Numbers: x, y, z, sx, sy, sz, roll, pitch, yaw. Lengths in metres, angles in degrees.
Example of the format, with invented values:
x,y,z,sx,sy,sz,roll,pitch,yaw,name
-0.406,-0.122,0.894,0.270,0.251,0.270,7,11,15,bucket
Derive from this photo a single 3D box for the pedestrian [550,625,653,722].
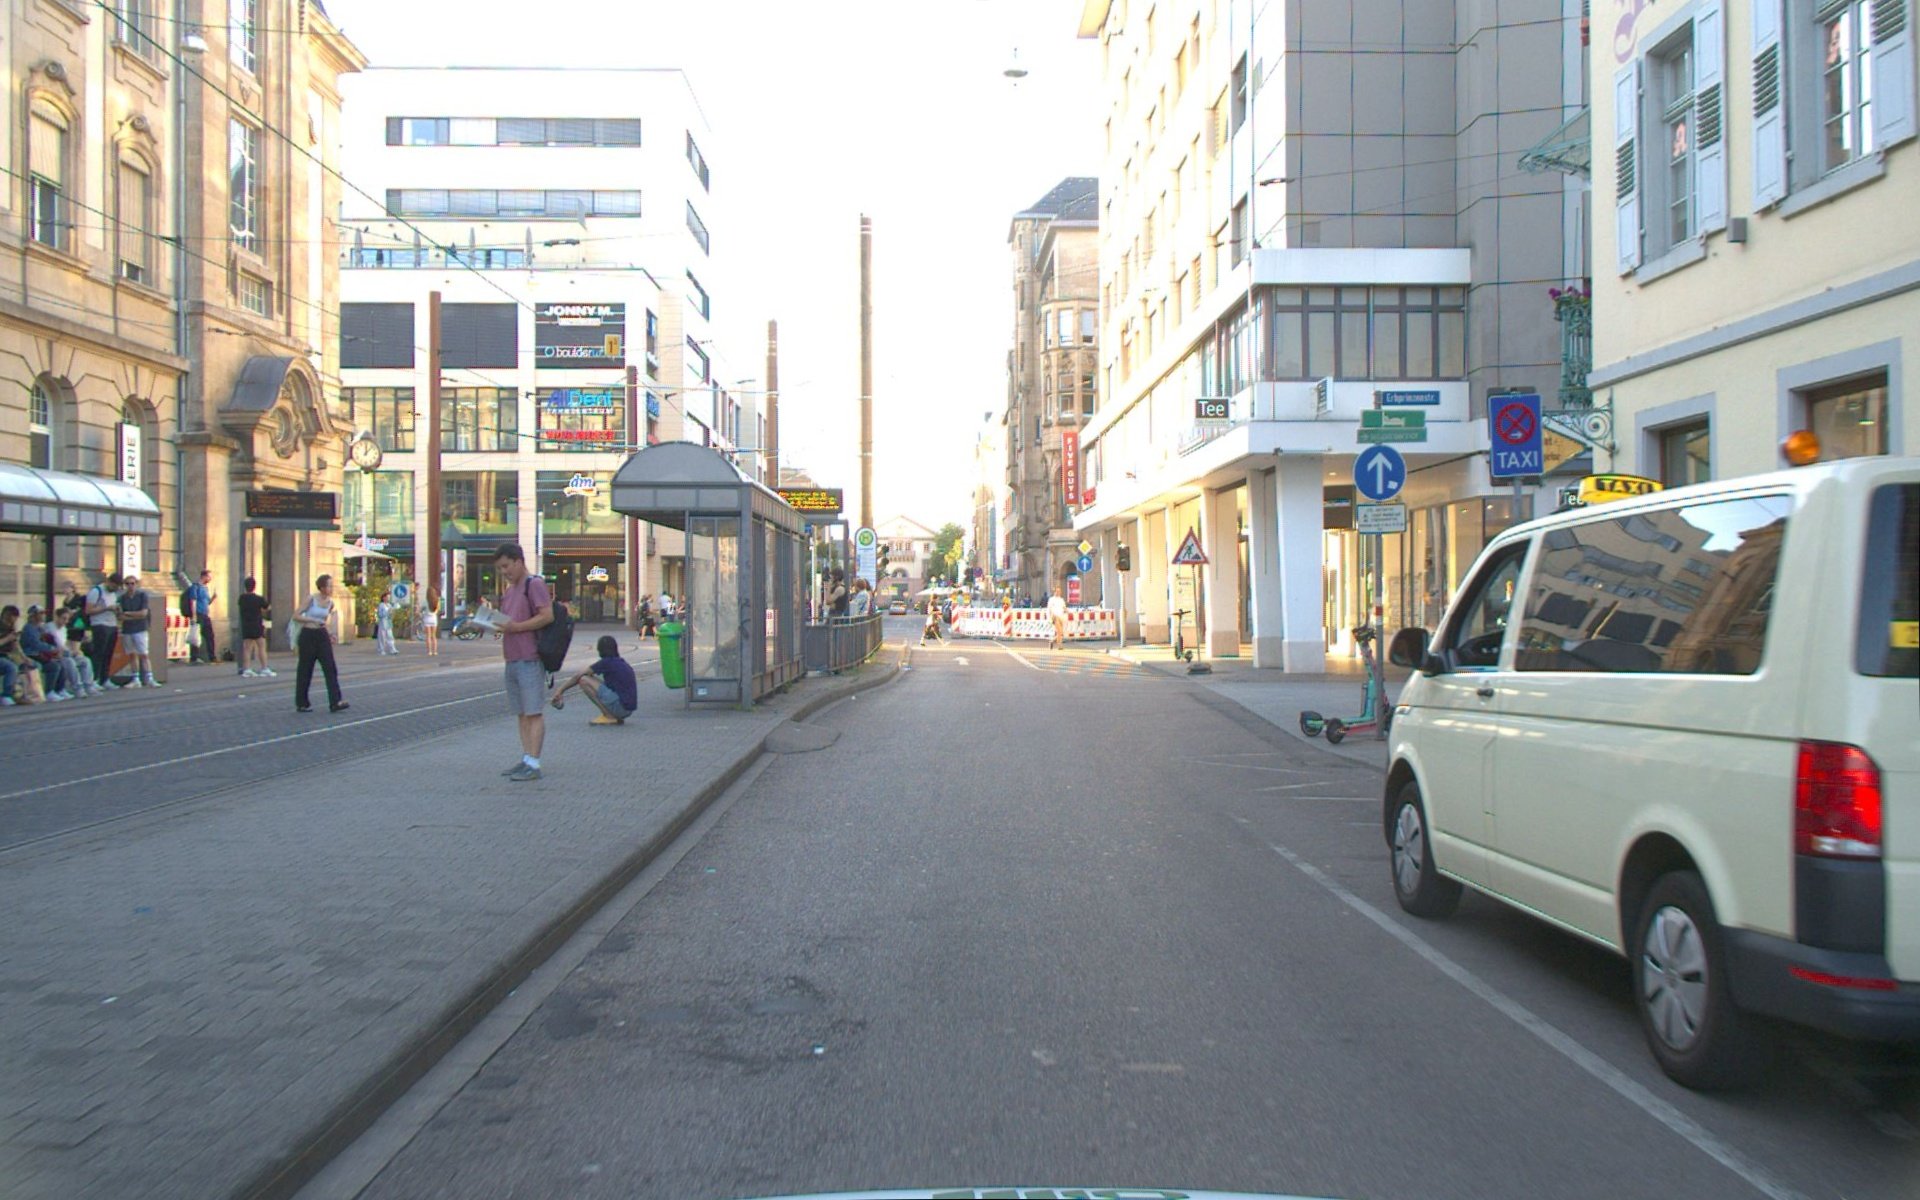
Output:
x,y,z,sx,sy,sz,roll,pitch,yaw,name
-3.685,0.745,17.017,0.781,0.955,0.693,0,0,21,pedestrian

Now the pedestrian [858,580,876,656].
x,y,z,sx,sy,sz,roll,pitch,yaw,name
-2.063,0.408,36.681,0.349,1.670,0.502,1,-1,-4,pedestrian

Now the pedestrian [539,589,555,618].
x,y,z,sx,sy,sz,roll,pitch,yaw,name
-22.986,0.197,92.130,0.560,1.553,0.791,1,-1,10,pedestrian

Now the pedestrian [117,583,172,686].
x,y,z,sx,sy,sz,roll,pitch,yaw,name
-12.730,0.537,25.835,0.507,1.597,0.638,0,-1,2,pedestrian

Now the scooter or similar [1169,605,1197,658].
x,y,z,sx,sy,sz,roll,pitch,yaw,name
5.409,0.751,40.147,0.495,1.256,1.179,0,0,-2,scooter or similar

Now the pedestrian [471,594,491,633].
x,y,z,sx,sy,sz,roll,pitch,yaw,name
-17.830,0.517,61.591,0.626,1.445,0.418,0,0,0,pedestrian

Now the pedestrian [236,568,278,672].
x,y,z,sx,sy,sz,roll,pitch,yaw,name
-12.305,0.347,28.945,0.548,1.807,0.468,0,0,-6,pedestrian

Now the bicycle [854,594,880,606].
x,y,z,sx,sy,sz,roll,pitch,yaw,name
-7.847,0.015,139.433,2.104,1.047,0.640,0,0,0,bicycle

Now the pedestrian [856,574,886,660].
x,y,z,sx,sy,sz,roll,pitch,yaw,name
-1.896,0.363,35.192,0.528,1.798,0.594,1,-1,4,pedestrian

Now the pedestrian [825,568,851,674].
x,y,z,sx,sy,sz,roll,pitch,yaw,name
-2.101,0.360,28.564,0.404,1.798,0.594,1,-1,-4,pedestrian

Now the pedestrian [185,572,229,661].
x,y,z,sx,sy,sz,roll,pitch,yaw,name
-15.569,0.339,34.217,0.608,1.807,0.705,0,0,-5,pedestrian

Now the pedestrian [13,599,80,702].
x,y,z,sx,sy,sz,roll,pitch,yaw,name
-12.103,0.665,21.919,0.507,1.350,0.638,0,-1,2,pedestrian

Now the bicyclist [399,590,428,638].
x,y,z,sx,sy,sz,roll,pitch,yaw,name
-18.709,0.469,56.638,0.773,1.621,0.610,0,0,-2,bicyclist

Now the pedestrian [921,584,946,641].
x,y,z,sx,sy,sz,roll,pitch,yaw,name
-0.801,0.381,49.991,0.686,1.723,0.540,1,-1,-9,pedestrian

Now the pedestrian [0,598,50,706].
x,y,z,sx,sy,sz,roll,pitch,yaw,name
-12.084,0.659,21.151,0.507,1.350,0.638,0,-1,2,pedestrian

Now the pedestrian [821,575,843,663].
x,y,z,sx,sy,sz,roll,pitch,yaw,name
-2.437,0.363,31.564,0.378,1.670,0.549,1,-1,-4,pedestrian

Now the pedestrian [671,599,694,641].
x,y,z,sx,sy,sz,roll,pitch,yaw,name
-10.938,0.791,65.212,0.760,1.642,0.661,0,0,-27,pedestrian

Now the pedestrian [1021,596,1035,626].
x,y,z,sx,sy,sz,roll,pitch,yaw,name
3.839,0.607,93.186,0.697,1.639,0.821,1,-1,-4,pedestrian

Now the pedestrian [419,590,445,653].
x,y,z,sx,sy,sz,roll,pitch,yaw,name
-13.217,0.534,41.408,0.515,1.552,0.502,0,0,-3,pedestrian

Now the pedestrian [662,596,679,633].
x,y,z,sx,sy,sz,roll,pitch,yaw,name
-13.369,0.671,76.379,0.635,1.703,0.530,0,0,7,pedestrian

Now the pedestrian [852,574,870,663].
x,y,z,sx,sy,sz,roll,pitch,yaw,name
-2.051,0.391,34.395,0.335,1.827,0.544,1,-1,-3,pedestrian

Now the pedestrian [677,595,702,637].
x,y,z,sx,sy,sz,roll,pitch,yaw,name
-10.577,0.611,64.648,0.811,1.642,0.687,0,0,-27,pedestrian

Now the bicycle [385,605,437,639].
x,y,z,sx,sy,sz,roll,pitch,yaw,name
-18.793,0.768,56.625,1.588,1.123,0.629,-1,-1,-4,bicycle

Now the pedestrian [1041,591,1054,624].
x,y,z,sx,sy,sz,roll,pitch,yaw,name
4.554,0.398,85.986,0.612,1.719,0.671,-1,-1,-4,pedestrian

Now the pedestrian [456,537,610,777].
x,y,z,sx,sy,sz,roll,pitch,yaw,name
-3.102,0.396,12.040,0.675,1.666,0.857,0,0,39,pedestrian

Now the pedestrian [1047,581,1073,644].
x,y,z,sx,sy,sz,roll,pitch,yaw,name
2.947,0.362,48.811,0.685,1.847,0.852,1,0,0,pedestrian

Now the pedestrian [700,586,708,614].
x,y,z,sx,sy,sz,roll,pitch,yaw,name
-14.003,0.014,90.619,0.382,1.541,0.505,0,0,-3,pedestrian

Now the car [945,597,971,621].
x,y,z,sx,sy,sz,roll,pitch,yaw,name
-0.145,0.620,116.200,1.645,1.574,3.671,-2,0,-2,car

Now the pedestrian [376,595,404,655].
x,y,z,sx,sy,sz,roll,pitch,yaw,name
-14.662,0.637,42.581,0.489,1.552,0.520,0,0,8,pedestrian

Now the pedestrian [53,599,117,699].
x,y,z,sx,sy,sz,roll,pitch,yaw,name
-12.051,0.672,22.791,0.507,1.350,0.638,0,-1,2,pedestrian

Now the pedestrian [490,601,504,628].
x,y,z,sx,sy,sz,roll,pitch,yaw,name
-17.177,0.528,61.393,0.413,0.982,0.418,0,0,0,pedestrian

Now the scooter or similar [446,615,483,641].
x,y,z,sx,sy,sz,roll,pitch,yaw,name
-18.196,1.036,60.730,1.071,0.920,0.890,0,0,0,scooter or similar

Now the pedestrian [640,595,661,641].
x,y,z,sx,sy,sz,roll,pitch,yaw,name
-11.577,0.672,61.934,0.730,1.730,0.609,0,0,-8,pedestrian

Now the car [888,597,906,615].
x,y,z,sx,sy,sz,roll,pitch,yaw,name
-6.967,0.622,182.180,1.953,1.937,3.998,1,0,-2,car

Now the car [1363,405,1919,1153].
x,y,z,sx,sy,sz,roll,pitch,yaw,name
3.216,0.515,6.727,1.839,1.957,4.698,2,0,-2,car

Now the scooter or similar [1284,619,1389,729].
x,y,z,sx,sy,sz,roll,pitch,yaw,name
4.407,0.861,19.343,1.151,1.256,0.316,-2,-1,15,scooter or similar

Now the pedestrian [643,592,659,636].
x,y,z,sx,sy,sz,roll,pitch,yaw,name
-11.675,0.528,62.508,0.558,1.621,0.447,0,-1,-8,pedestrian

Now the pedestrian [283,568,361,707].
x,y,z,sx,sy,sz,roll,pitch,yaw,name
-8.060,0.466,20.905,0.660,1.721,0.638,0,-1,14,pedestrian

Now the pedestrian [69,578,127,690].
x,y,z,sx,sy,sz,roll,pitch,yaw,name
-13.053,0.508,25.060,0.507,1.674,0.638,0,-1,2,pedestrian

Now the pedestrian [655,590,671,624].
x,y,z,sx,sy,sz,roll,pitch,yaw,name
-16.218,0.382,90.367,0.560,1.887,0.817,1,-1,10,pedestrian

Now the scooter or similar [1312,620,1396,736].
x,y,z,sx,sy,sz,roll,pitch,yaw,name
4.446,0.863,18.645,1.035,1.256,0.269,-1,-1,-34,scooter or similar
